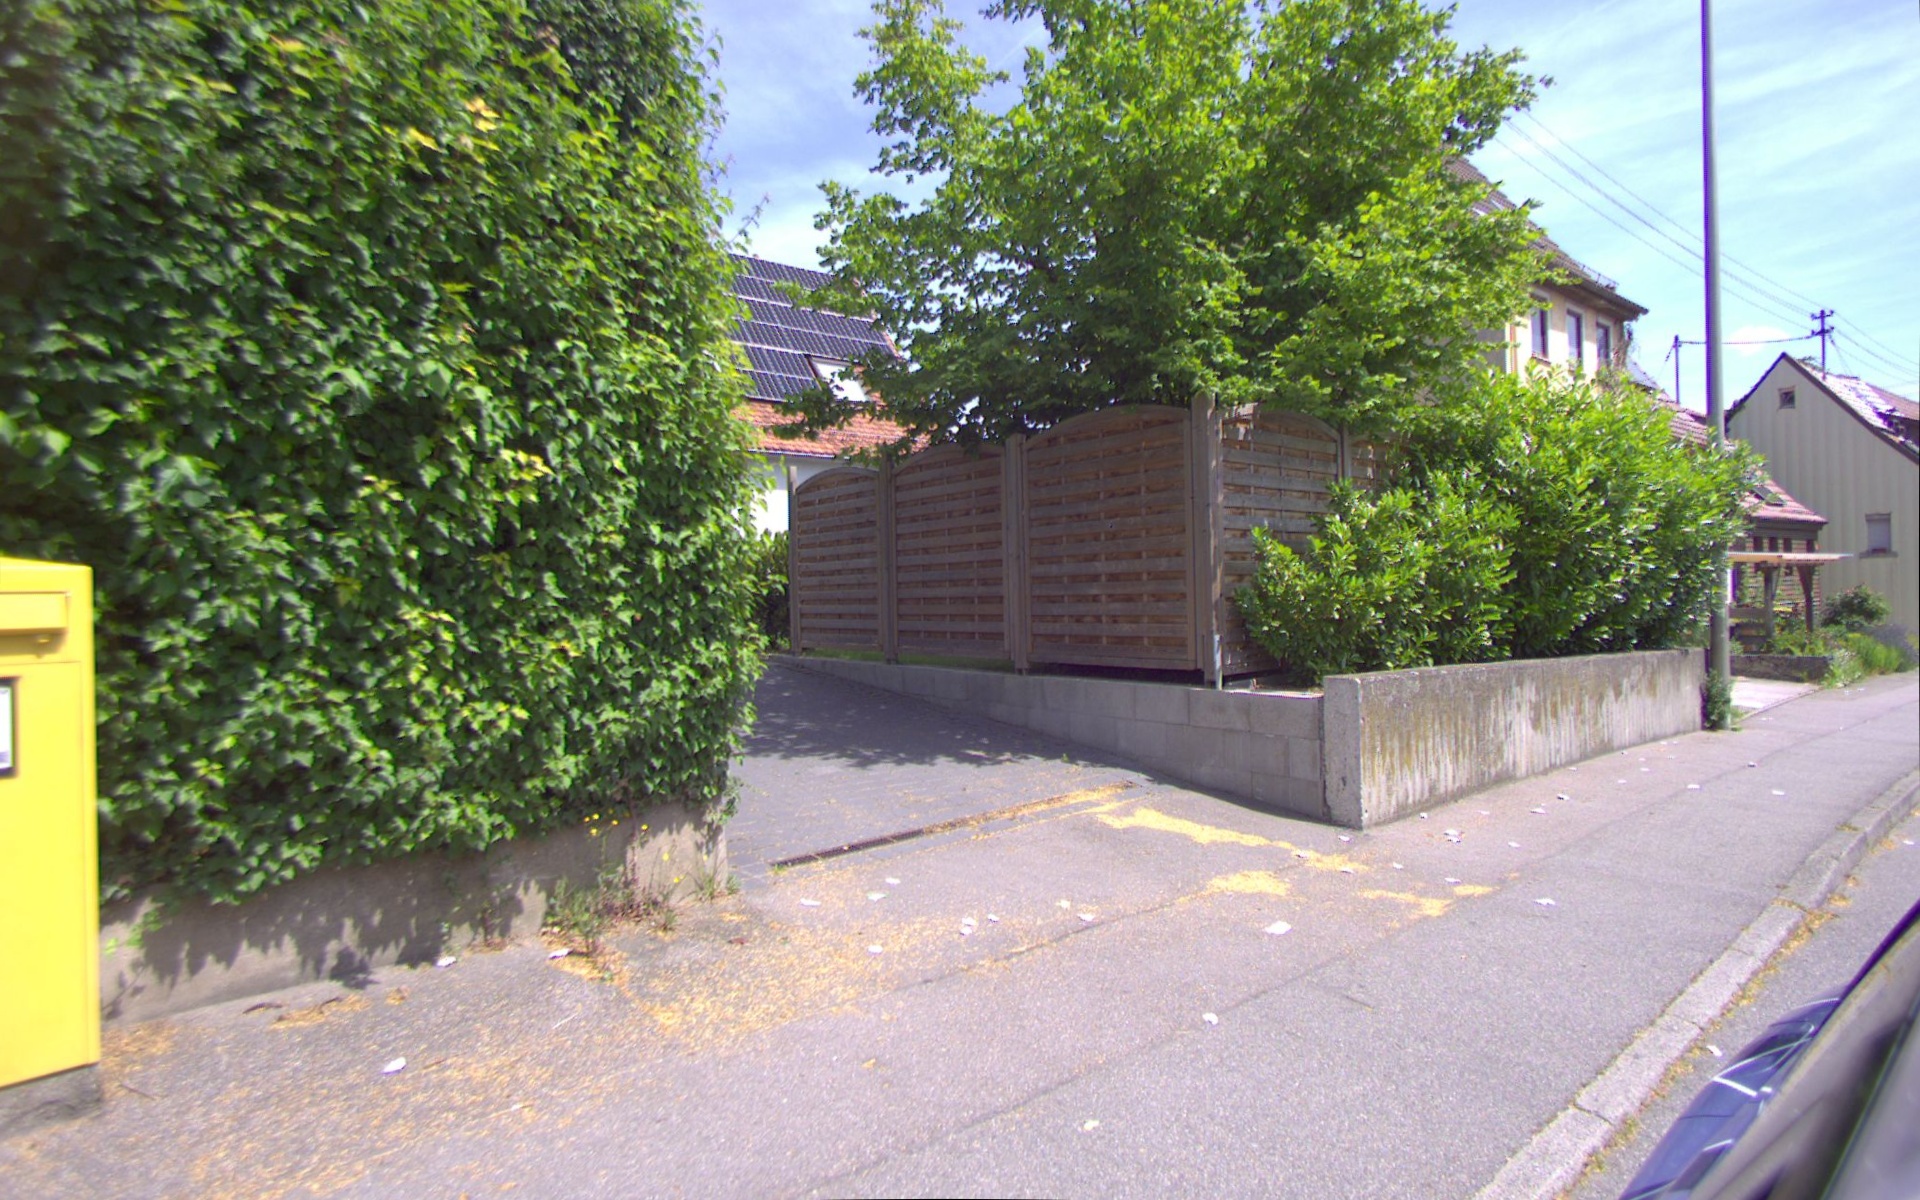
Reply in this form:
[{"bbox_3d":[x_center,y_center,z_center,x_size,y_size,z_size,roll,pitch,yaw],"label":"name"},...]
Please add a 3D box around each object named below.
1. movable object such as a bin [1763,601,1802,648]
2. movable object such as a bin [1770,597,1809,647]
[{"bbox_3d":[19.954,0.577,24.554,0.539,1.069,0.536,0,6,-41],"label":"movable object such as a bin"},{"bbox_3d":[20.475,0.534,24.984,0.539,1.171,0.536,0,6,-41],"label":"movable object such as a bin"}]
